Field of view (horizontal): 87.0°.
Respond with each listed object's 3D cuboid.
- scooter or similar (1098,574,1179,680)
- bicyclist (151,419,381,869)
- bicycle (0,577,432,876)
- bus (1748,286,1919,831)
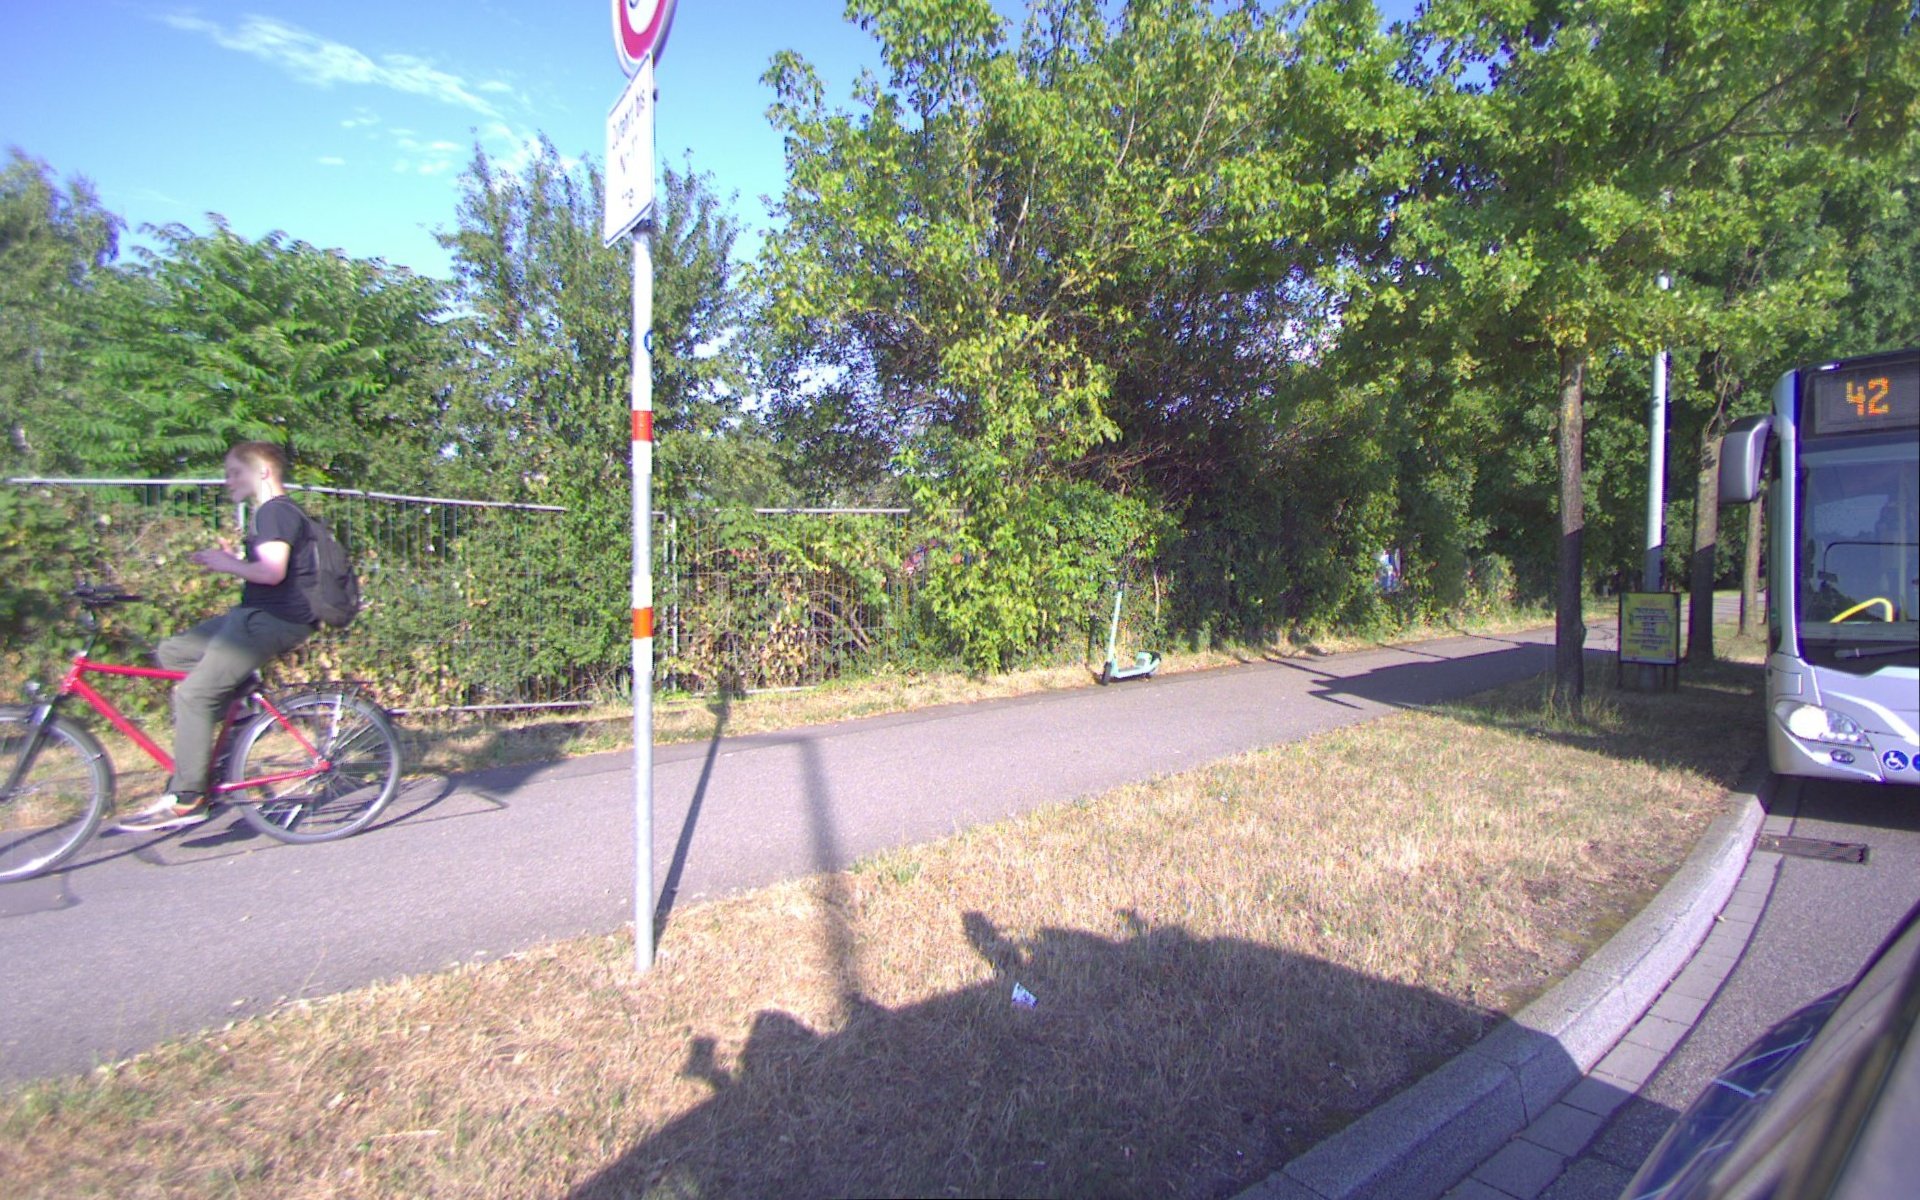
[{"bbox_3d":[2.027,0.290,11.416,1.077,1.139,0.249,0,5,-43],"label":"scooter or similar"},{"bbox_3d":[-3.160,0.165,4.643,0.814,1.852,0.621,0,4,-36],"label":"bicyclist"},{"bbox_3d":[-3.421,0.496,4.502,1.855,1.172,0.416,0,2,-36],"label":"bicycle"},{"bbox_3d":[9.823,-0.300,9.473,2.589,3.081,11.532,1,1,44],"label":"bus"}]
